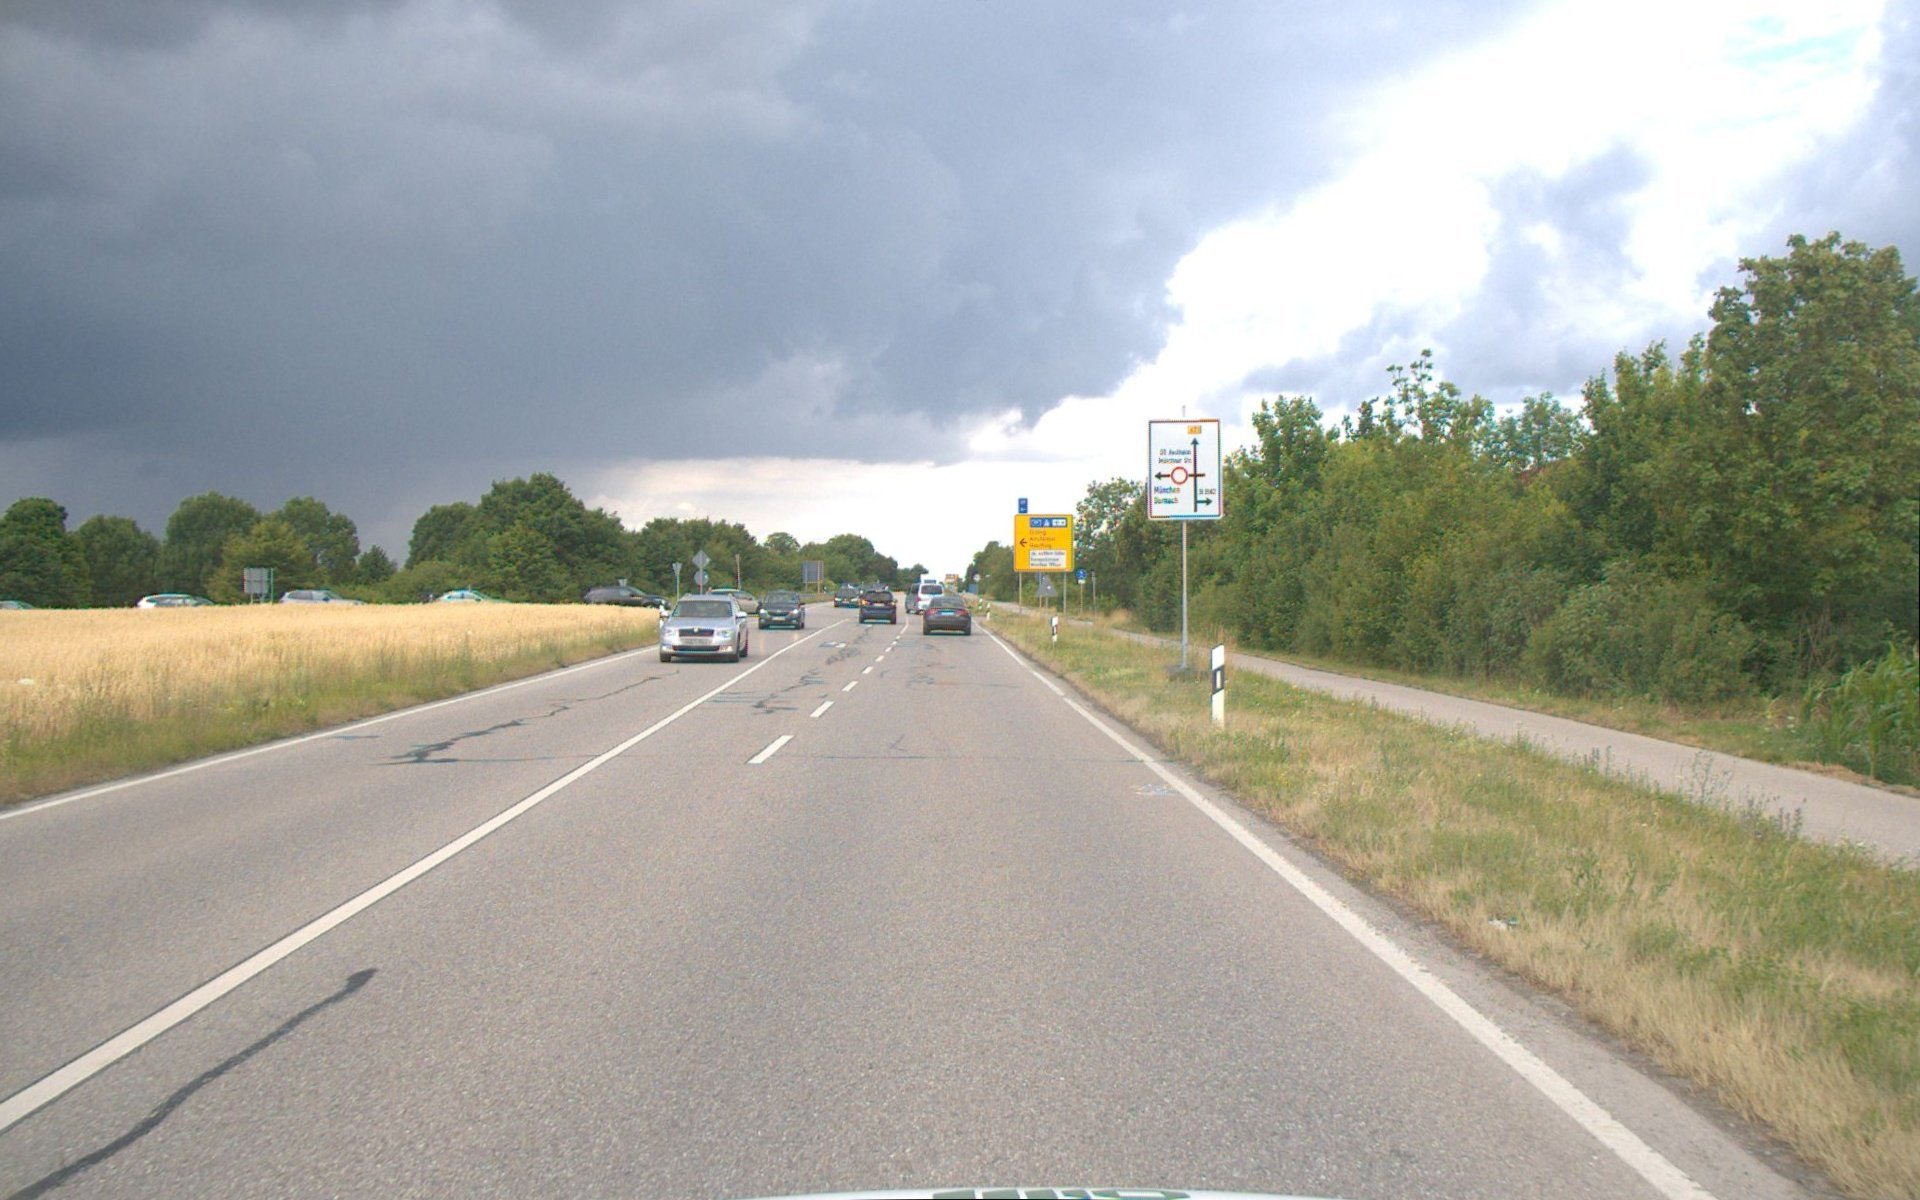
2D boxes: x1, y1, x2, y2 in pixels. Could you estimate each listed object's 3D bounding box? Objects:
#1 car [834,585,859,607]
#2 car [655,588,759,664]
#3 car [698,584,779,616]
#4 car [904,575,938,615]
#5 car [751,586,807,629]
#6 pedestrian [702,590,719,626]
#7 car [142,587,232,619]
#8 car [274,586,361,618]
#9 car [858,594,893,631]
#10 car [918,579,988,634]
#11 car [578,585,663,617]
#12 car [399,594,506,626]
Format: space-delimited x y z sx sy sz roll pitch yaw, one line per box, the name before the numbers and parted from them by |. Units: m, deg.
car | -8.378 -0.298 122.439 1.612 1.618 3.999 0 0 -1
car | -5.752 0.541 38.151 1.731 1.629 4.929 0 0 -1
car | -12.013 -0.027 89.815 4.328 1.678 1.500 0 0 -6
car | -2.521 -0.321 105.273 1.959 2.495 4.848 0 0 -4
car | -7.142 0.285 65.552 1.816 1.658 3.999 0 0 -1
pedestrian | -11.163 0.341 73.937 0.360 1.603 0.701 0 0 34
car | -42.201 0.165 90.339 3.987 1.678 1.867 0 0 3
car | -35.020 0.090 90.171 3.987 1.678 1.867 0 0 3
car | -4.052 0.595 79.495 1.540 1.731 3.999 0 0 -1
car | -0.309 0.234 62.531 2.325 1.913 4.475 -2 0 -4
car | -18.202 0.056 88.812 4.326 1.678 1.501 0 0 -5
car | -27.581 0.526 89.950 5.197 1.678 1.867 0 0 3
